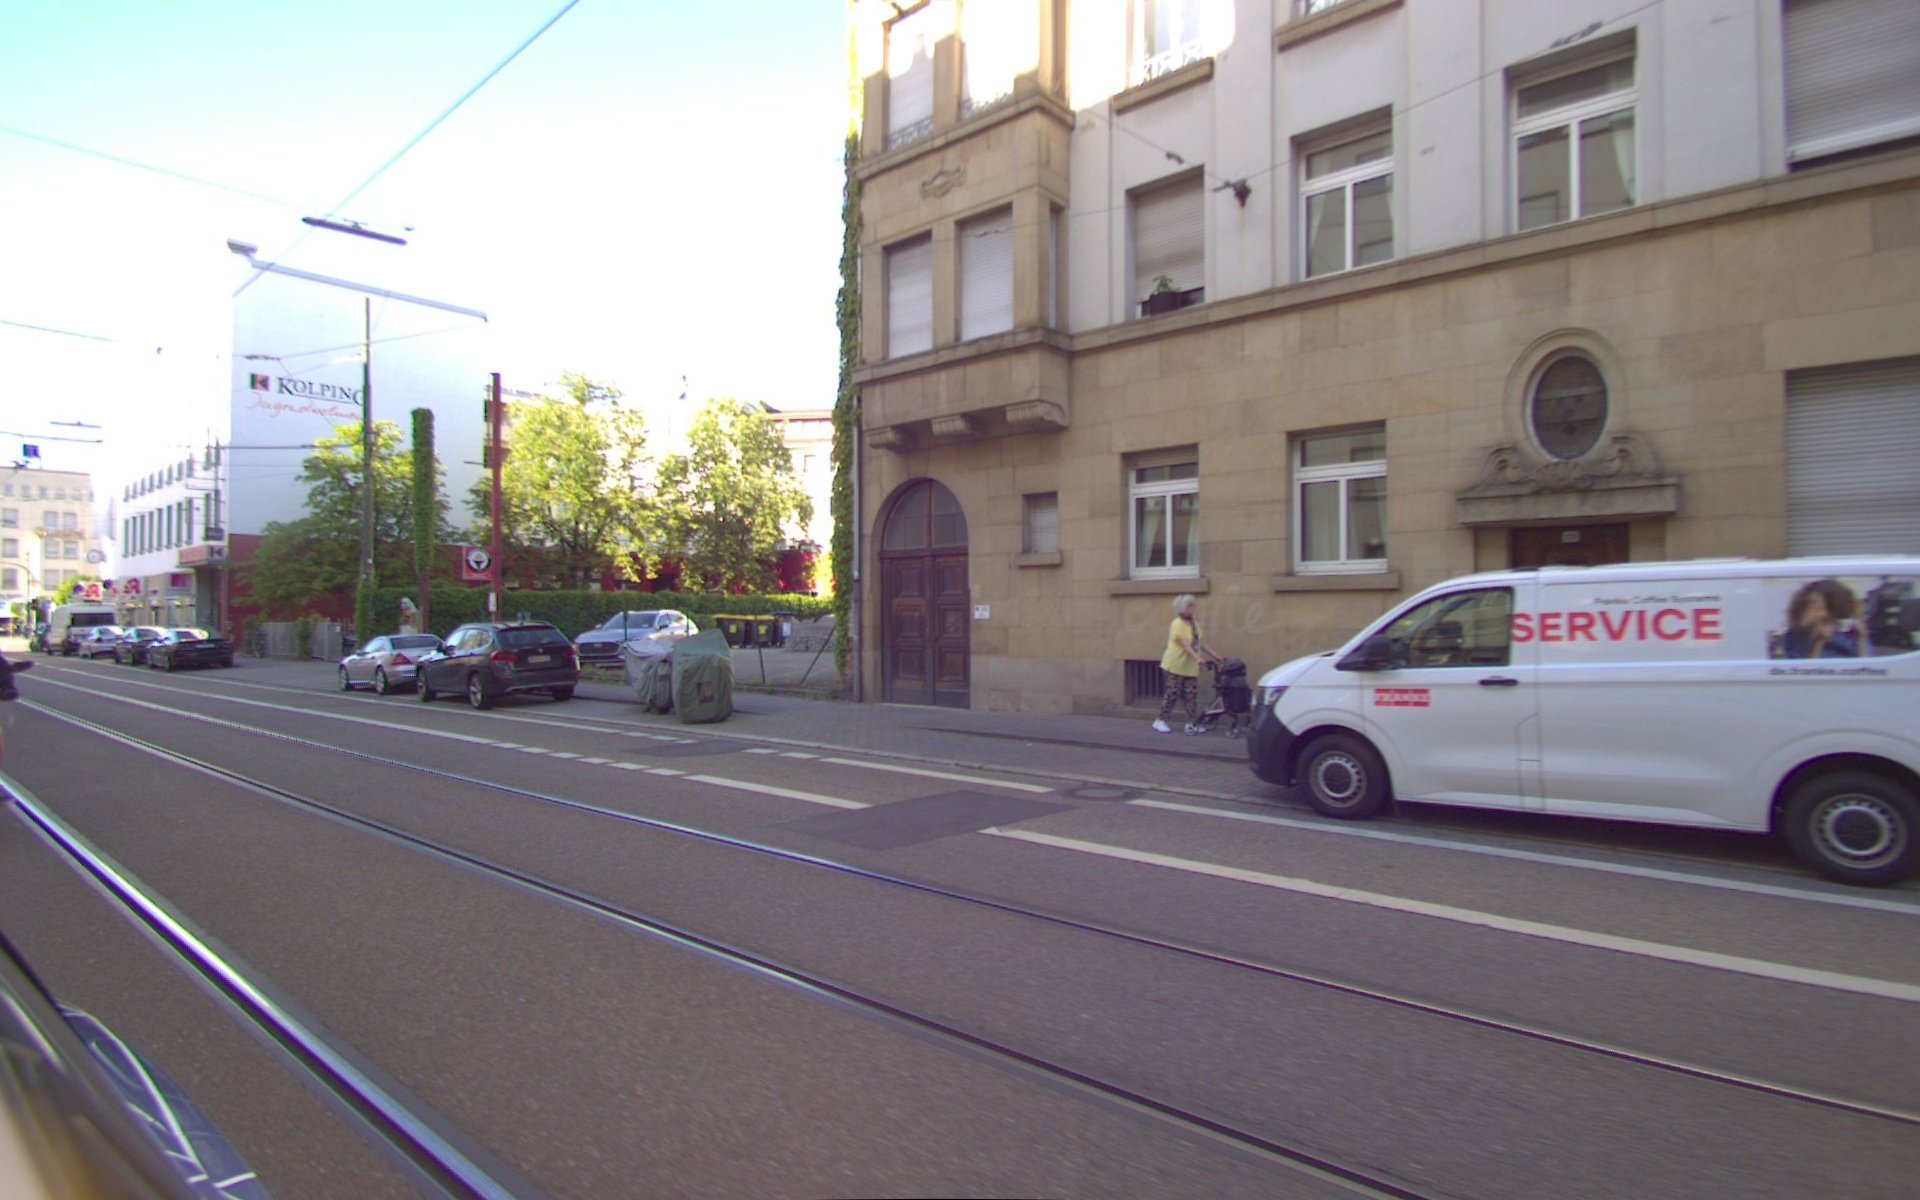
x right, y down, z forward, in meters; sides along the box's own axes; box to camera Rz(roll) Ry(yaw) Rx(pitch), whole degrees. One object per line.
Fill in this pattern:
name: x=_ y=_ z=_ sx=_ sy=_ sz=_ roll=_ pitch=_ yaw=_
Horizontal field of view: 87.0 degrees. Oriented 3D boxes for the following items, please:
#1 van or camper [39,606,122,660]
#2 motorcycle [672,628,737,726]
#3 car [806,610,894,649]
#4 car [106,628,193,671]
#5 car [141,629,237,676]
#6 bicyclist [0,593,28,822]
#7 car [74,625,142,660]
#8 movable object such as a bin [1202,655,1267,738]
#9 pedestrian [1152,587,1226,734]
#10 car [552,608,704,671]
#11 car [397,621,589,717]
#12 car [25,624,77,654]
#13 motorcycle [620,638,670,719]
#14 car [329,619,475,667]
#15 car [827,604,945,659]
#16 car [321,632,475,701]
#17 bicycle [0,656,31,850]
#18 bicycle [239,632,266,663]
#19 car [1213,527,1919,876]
van or camper: x=-43.446 y=1.591 z=49.949 sx=6.228 sy=2.486 sz=2.149 roll=-1 pitch=0 yaw=41
motorcycle: x=-3.942 y=1.129 z=15.533 sx=0.871 sy=1.361 sz=1.963 roll=-1 pitch=-1 yaw=-17
car: x=-4.746 y=1.253 z=44.079 sx=1.796 sy=1.566 sz=3.958 roll=-1 pitch=-1 yaw=31
car: x=-31.543 y=1.880 z=39.338 sx=4.697 sy=1.492 sz=1.765 roll=-1 pitch=0 yaw=41
car: x=-27.121 y=1.799 z=35.524 sx=4.840 sy=1.456 sz=1.764 roll=-1 pitch=0 yaw=42
bicyclist: x=-6.999 y=0.732 z=6.989 sx=0.939 sy=1.552 sz=0.764 roll=-1 pitch=-2 yaw=44
car: x=-38.313 y=1.861 z=45.460 sx=4.444 sy=1.409 sz=1.764 roll=-1 pitch=0 yaw=43
movable object such as a bin: x=3.227 y=1.118 z=11.892 sx=0.518 sy=0.907 sz=0.606 roll=-1 pitch=-1 yaw=41
pedestrian: x=2.814 y=0.722 z=12.420 sx=0.616 sy=1.737 sz=0.672 roll=-1 pitch=-1 yaw=41
car: x=-8.708 y=0.992 z=27.029 sx=1.976 sy=1.529 sz=4.785 roll=-1 pitch=-1 yaw=8
car: x=-9.174 y=1.240 z=19.684 sx=4.610 sy=1.577 sz=1.764 roll=-1 pitch=0 yaw=43
car: x=-50.883 y=2.165 z=56.635 sx=3.992 sy=1.564 sz=1.764 roll=-1 pitch=0 yaw=43
motorcycle: x=-5.271 y=1.261 z=16.864 sx=0.729 sy=1.180 sz=2.187 roll=-1 pitch=-1 yaw=-19
car: x=-20.570 y=1.528 z=37.410 sx=2.000 sy=1.610 sz=4.314 roll=-1 pitch=-1 yaw=42
car: x=-2.573 y=1.061 z=34.717 sx=3.999 sy=1.763 sz=1.778 roll=-1 pitch=-1 yaw=42
car: x=-12.985 y=1.459 z=23.287 sx=4.219 sy=1.324 sz=1.765 roll=-1 pitch=0 yaw=41
bicycle: x=-6.989 y=1.018 z=6.964 sx=1.752 sy=1.208 sz=0.757 roll=-1 pitch=-1 yaw=44
bicycle: x=-28.122 y=1.888 z=40.227 sx=2.050 sy=1.183 sz=0.435 roll=-1 pitch=-1 yaw=42
car: x=4.754 y=0.576 z=7.505 sx=5.248 sy=1.963 sz=1.953 roll=-1 pitch=0 yaw=40
